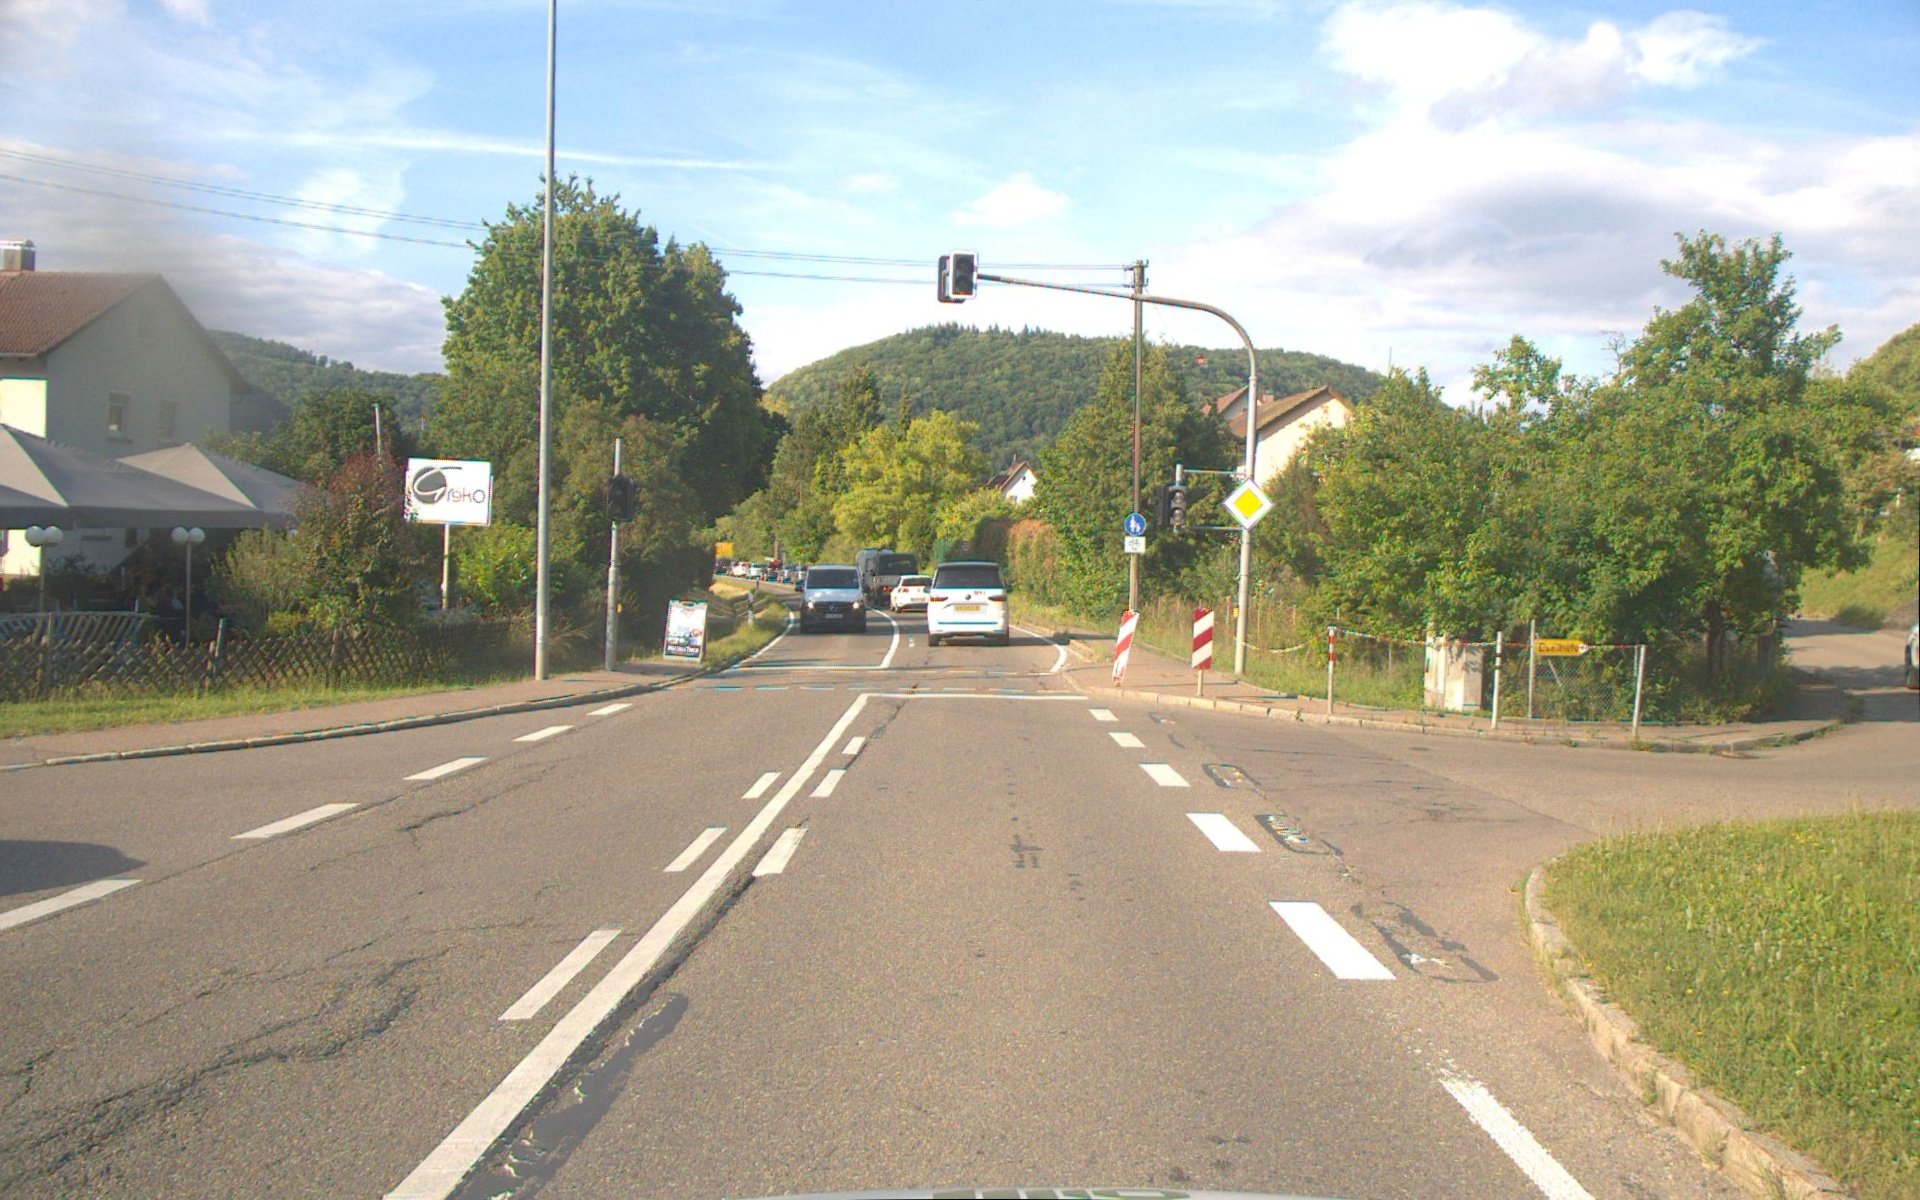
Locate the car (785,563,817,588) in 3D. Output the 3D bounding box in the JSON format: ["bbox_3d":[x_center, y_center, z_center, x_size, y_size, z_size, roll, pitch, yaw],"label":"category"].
[{"bbox_3d":[-12.180,-1.904,126.846,1.767,1.825,3.984,0,1,-16],"label":"car"}]

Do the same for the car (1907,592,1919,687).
[{"bbox_3d":[17.647,0.736,28.551,1.830,1.638,4.569,2,2,25],"label":"car"}]

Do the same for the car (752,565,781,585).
[{"bbox_3d":[-16.759,-2.174,143.078,2.006,1.713,3.987,1,2,-13],"label":"car"}]

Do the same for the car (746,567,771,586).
[{"bbox_3d":[-18.500,-2.171,151.647,1.909,1.713,3.987,-1,1,-13],"label":"car"}]

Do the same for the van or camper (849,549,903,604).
[{"bbox_3d":[-4.700,-1.312,91.538,2.370,2.955,6.119,0,1,-9],"label":"van or camper"}]

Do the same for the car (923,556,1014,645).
[{"bbox_3d":[0.212,-0.053,39.563,1.953,1.909,4.872,2,2,0],"label":"car"}]

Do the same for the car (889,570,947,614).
[{"bbox_3d":[-1.744,-0.362,67.109,1.956,1.713,3.994,0,1,-7],"label":"car"}]

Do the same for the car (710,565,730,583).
[{"bbox_3d":[-25.589,-2.784,176.222,1.741,1.814,3.987,0,1,-13],"label":"car"}]

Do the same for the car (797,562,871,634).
[{"bbox_3d":[-3.746,-0.117,48.375,1.955,1.937,5.247,-1,1,-6],"label":"car"}]

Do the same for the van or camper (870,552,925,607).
[{"bbox_3d":[-2.955,-0.971,76.906,2.138,2.426,5.362,0,1,-7],"label":"van or camper"}]

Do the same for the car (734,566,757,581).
[{"bbox_3d":[-20.835,-2.586,160.606,1.909,1.449,3.987,0,1,-13],"label":"car"}]

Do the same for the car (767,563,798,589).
[{"bbox_3d":[-14.438,-1.951,134.311,1.960,2.048,3.986,0,1,-14],"label":"car"}]
